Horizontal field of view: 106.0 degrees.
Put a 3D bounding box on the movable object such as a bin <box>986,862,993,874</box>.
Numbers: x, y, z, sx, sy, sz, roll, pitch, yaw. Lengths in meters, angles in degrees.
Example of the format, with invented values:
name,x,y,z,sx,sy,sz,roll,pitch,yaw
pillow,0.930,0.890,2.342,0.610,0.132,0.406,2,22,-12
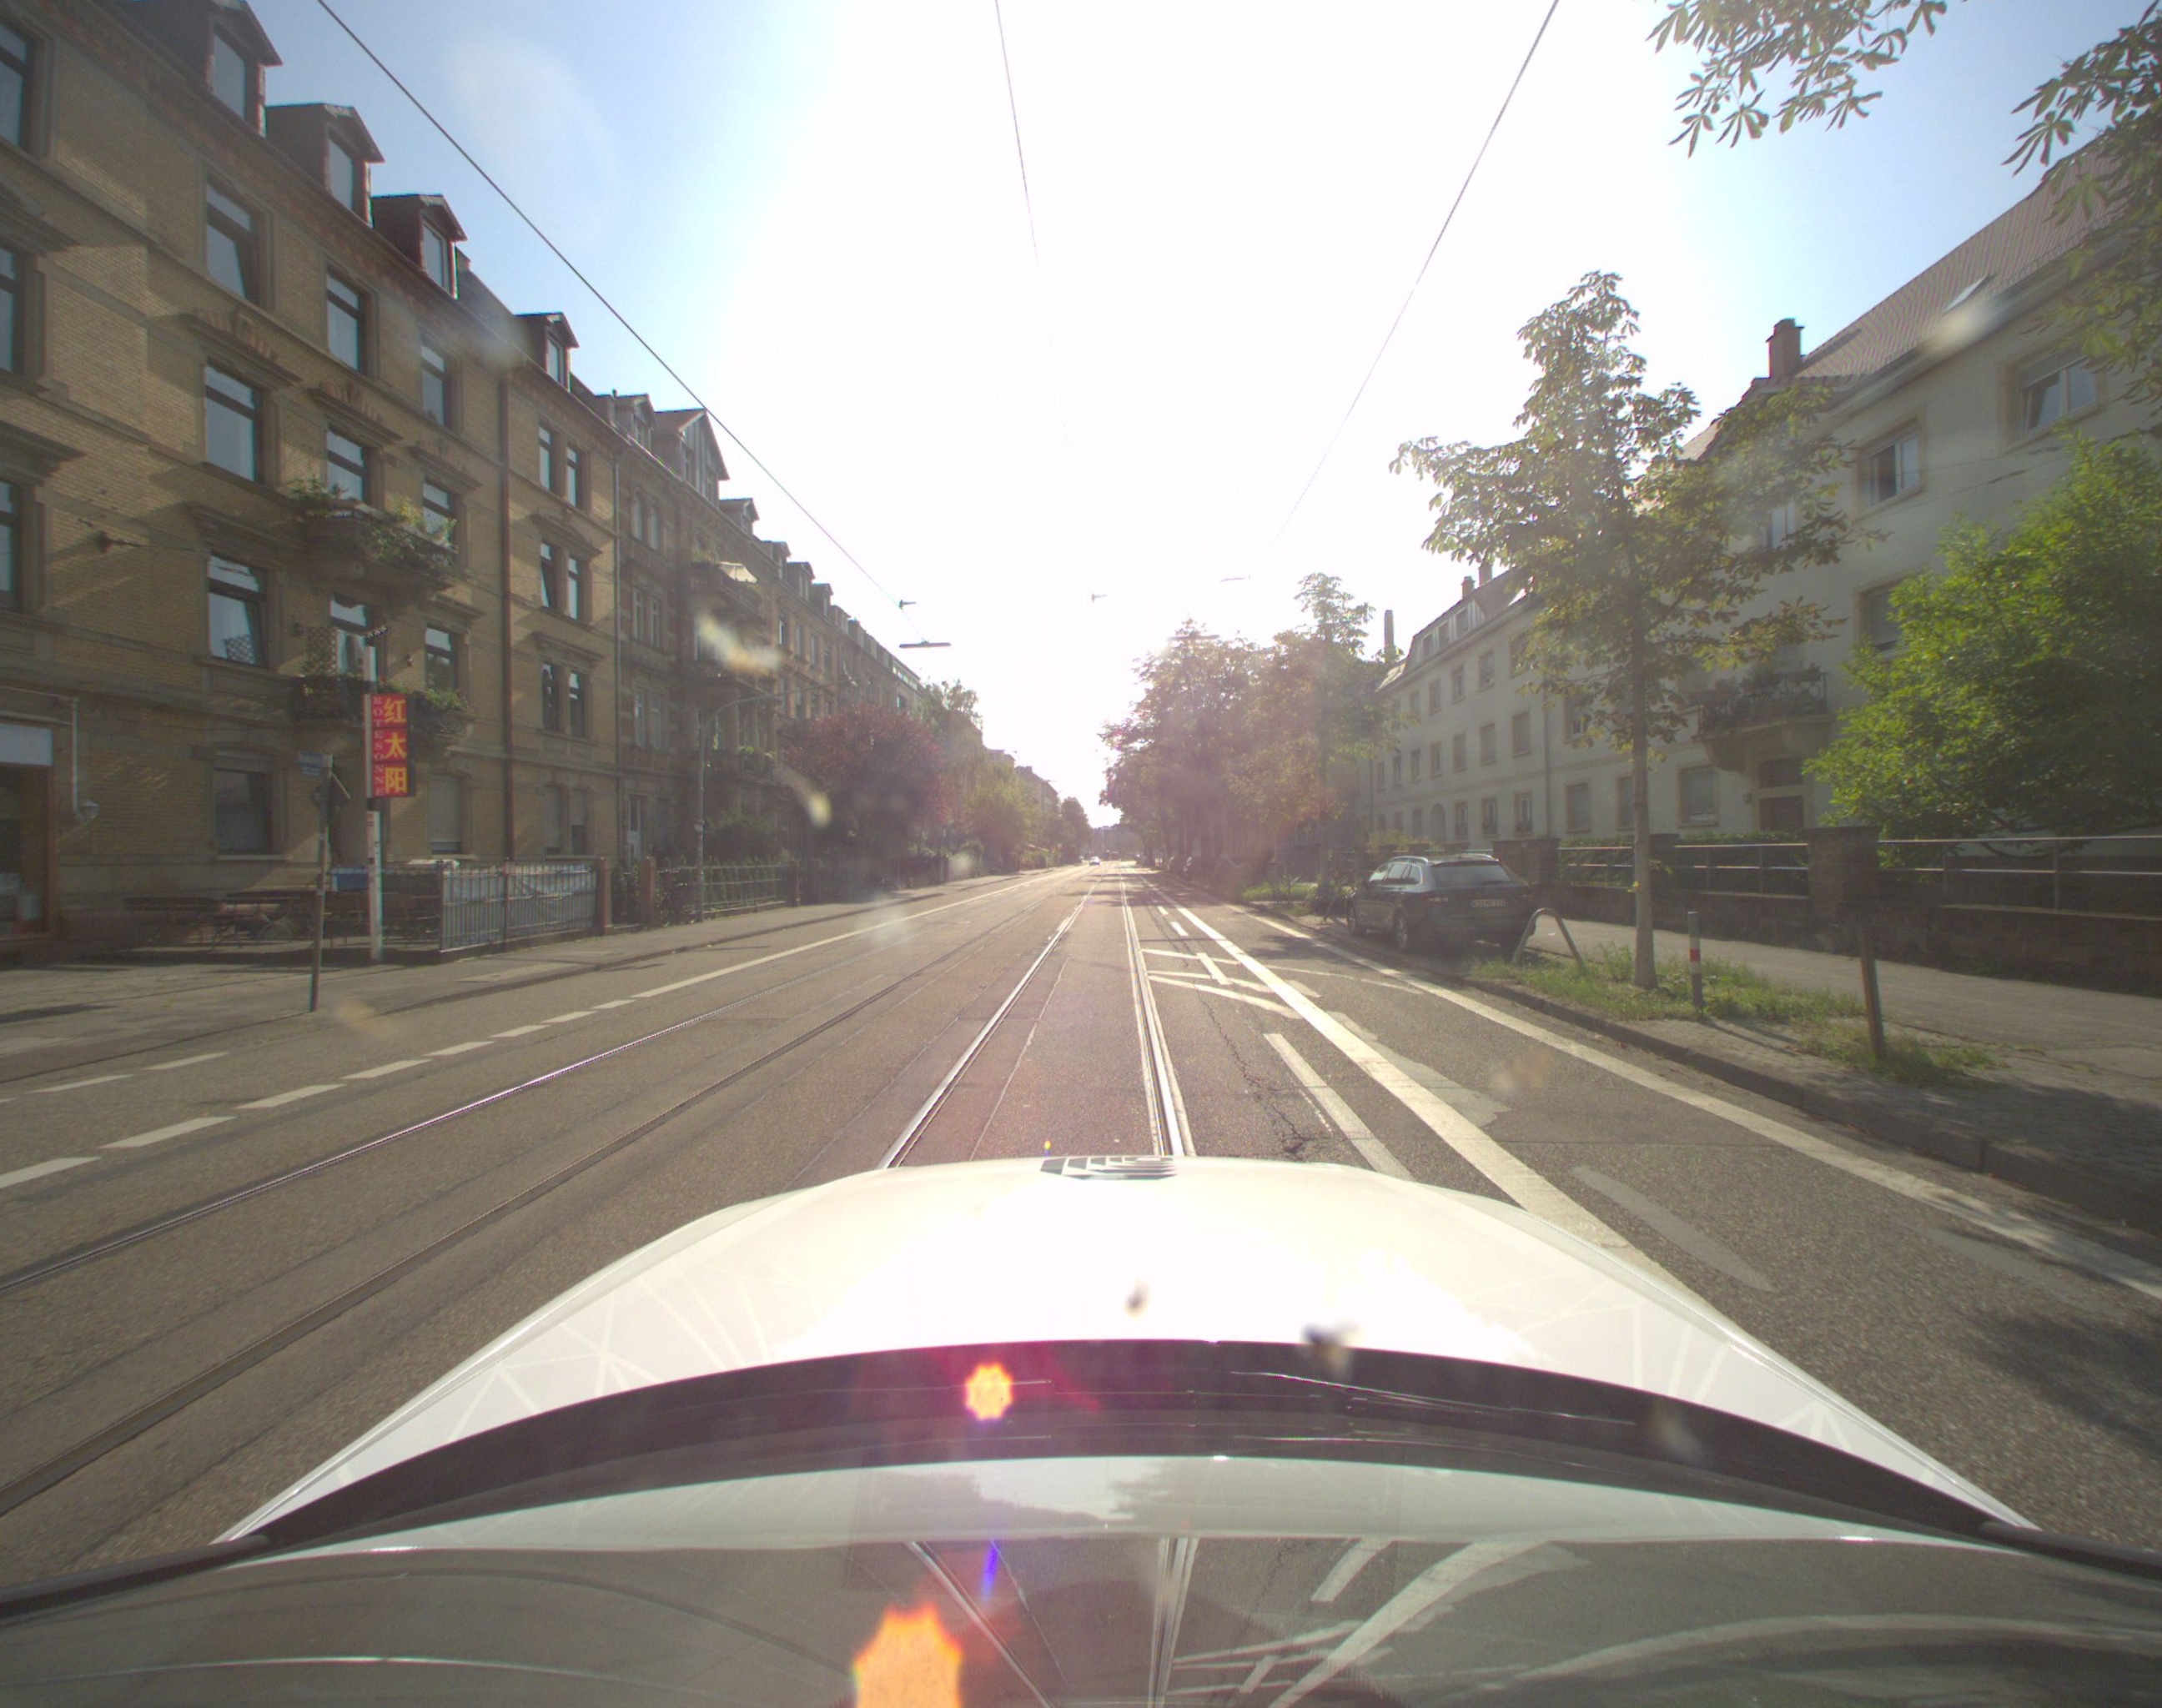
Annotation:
name,x,y,z,sx,sy,sz,roll,pitch,yaw
movable object such as a bin,-8.298,1.299,73.980,0.588,1.078,0.704,-1,-1,-4

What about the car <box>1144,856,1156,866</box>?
name,x,y,z,sx,sy,sz,roll,pitch,yaw
car,10.716,1.087,126.411,1.764,1.473,3.977,-2,-1,3

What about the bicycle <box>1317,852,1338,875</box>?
name,x,y,z,sx,sy,sz,roll,pitch,yaw
bicycle,12.193,0.464,40.273,0.423,1.104,2.000,-1,0,0

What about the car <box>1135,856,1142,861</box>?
name,x,y,z,sx,sy,sz,roll,pitch,yaw
car,17.726,1.400,252.487,1.983,1.783,4.008,1,0,7

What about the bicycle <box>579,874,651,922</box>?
name,x,y,z,sx,sy,sz,roll,pitch,yaw
bicycle,-10.553,0.989,18.450,1.353,1.060,0.417,0,-1,-1

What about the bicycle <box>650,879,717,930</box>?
name,x,y,z,sx,sy,sz,roll,pitch,yaw
bicycle,-9.447,1.175,19.443,0.506,1.108,2.005,-1,0,3

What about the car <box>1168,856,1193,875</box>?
name,x,y,z,sx,sy,sz,roll,pitch,yaw
car,8.391,0.968,69.072,1.764,1.473,3.977,-2,-1,3

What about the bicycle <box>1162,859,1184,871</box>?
name,x,y,z,sx,sy,sz,roll,pitch,yaw
bicycle,8.976,1.084,79.544,2.099,1.105,0.616,-3,-1,1

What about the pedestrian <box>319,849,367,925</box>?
name,x,y,z,sx,sy,sz,roll,pitch,yaw
pedestrian,-16.564,0.737,18.285,0.549,1.667,0.579,-1,-1,-9

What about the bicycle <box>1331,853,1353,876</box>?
name,x,y,z,sx,sy,sz,roll,pitch,yaw
bicycle,12.907,0.523,40.289,0.423,1.104,2.000,-1,0,0

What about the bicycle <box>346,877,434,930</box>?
name,x,y,z,sx,sy,sz,roll,pitch,yaw
bicycle,-14.710,1.040,17.341,1.479,1.060,0.417,-1,-1,-1

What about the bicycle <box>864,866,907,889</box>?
name,x,y,z,sx,sy,sz,roll,pitch,yaw
bicycle,-9.981,1.187,41.659,2.009,1.104,0.588,-1,-1,-1

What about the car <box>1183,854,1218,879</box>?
name,x,y,z,sx,sy,sz,roll,pitch,yaw
car,7.595,0.788,52.057,1.720,1.504,3.987,-3,-1,2

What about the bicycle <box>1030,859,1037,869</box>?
name,x,y,z,sx,sy,sz,roll,pitch,yaw
bicycle,-5.826,1.259,100.665,0.558,1.221,2.116,-1,0,4

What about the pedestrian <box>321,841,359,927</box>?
name,x,y,z,sx,sy,sz,roll,pitch,yaw
pedestrian,-16.327,0.649,17.953,0.554,1.849,0.574,-1,-1,-37

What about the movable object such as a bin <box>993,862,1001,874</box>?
name,x,y,z,sx,sy,sz,roll,pitch,yaw
movable object such as a bin,-7.628,1.305,74.030,0.630,1.078,0.704,-1,-1,-4

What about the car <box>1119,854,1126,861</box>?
name,x,y,z,sx,sy,sz,roll,pitch,yaw
car,12.549,1.037,245.499,1.984,2.013,4.006,1,0,6

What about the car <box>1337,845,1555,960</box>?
name,x,y,z,sx,sy,sz,roll,pitch,yaw
car,5.843,0.691,13.737,1.736,1.561,4.722,-2,0,3

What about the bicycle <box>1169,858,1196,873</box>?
name,x,y,z,sx,sy,sz,roll,pitch,yaw
bicycle,8.129,0.915,65.411,2.103,1.105,0.562,-1,-1,-5

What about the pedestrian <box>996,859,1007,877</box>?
name,x,y,z,sx,sy,sz,roll,pitch,yaw
pedestrian,-6.915,1.209,71.019,0.749,1.591,0.879,-1,-1,3

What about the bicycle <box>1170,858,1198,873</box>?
name,x,y,z,sx,sy,sz,roll,pitch,yaw
bicycle,8.228,0.923,64.890,2.103,1.105,0.562,-1,-1,-5

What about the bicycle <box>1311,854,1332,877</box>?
name,x,y,z,sx,sy,sz,roll,pitch,yaw
bicycle,11.882,0.574,40.307,0.421,1.104,2.000,-1,0,0

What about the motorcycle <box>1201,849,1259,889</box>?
name,x,y,z,sx,sy,sz,roll,pitch,yaw
motorcycle,6.616,0.683,36.242,0.919,1.674,2.390,-3,0,-43

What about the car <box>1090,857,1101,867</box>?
name,x,y,z,sx,sy,sz,roll,pitch,yaw
car,2.631,1.411,146.802,1.720,1.638,3.987,-1,0,2
